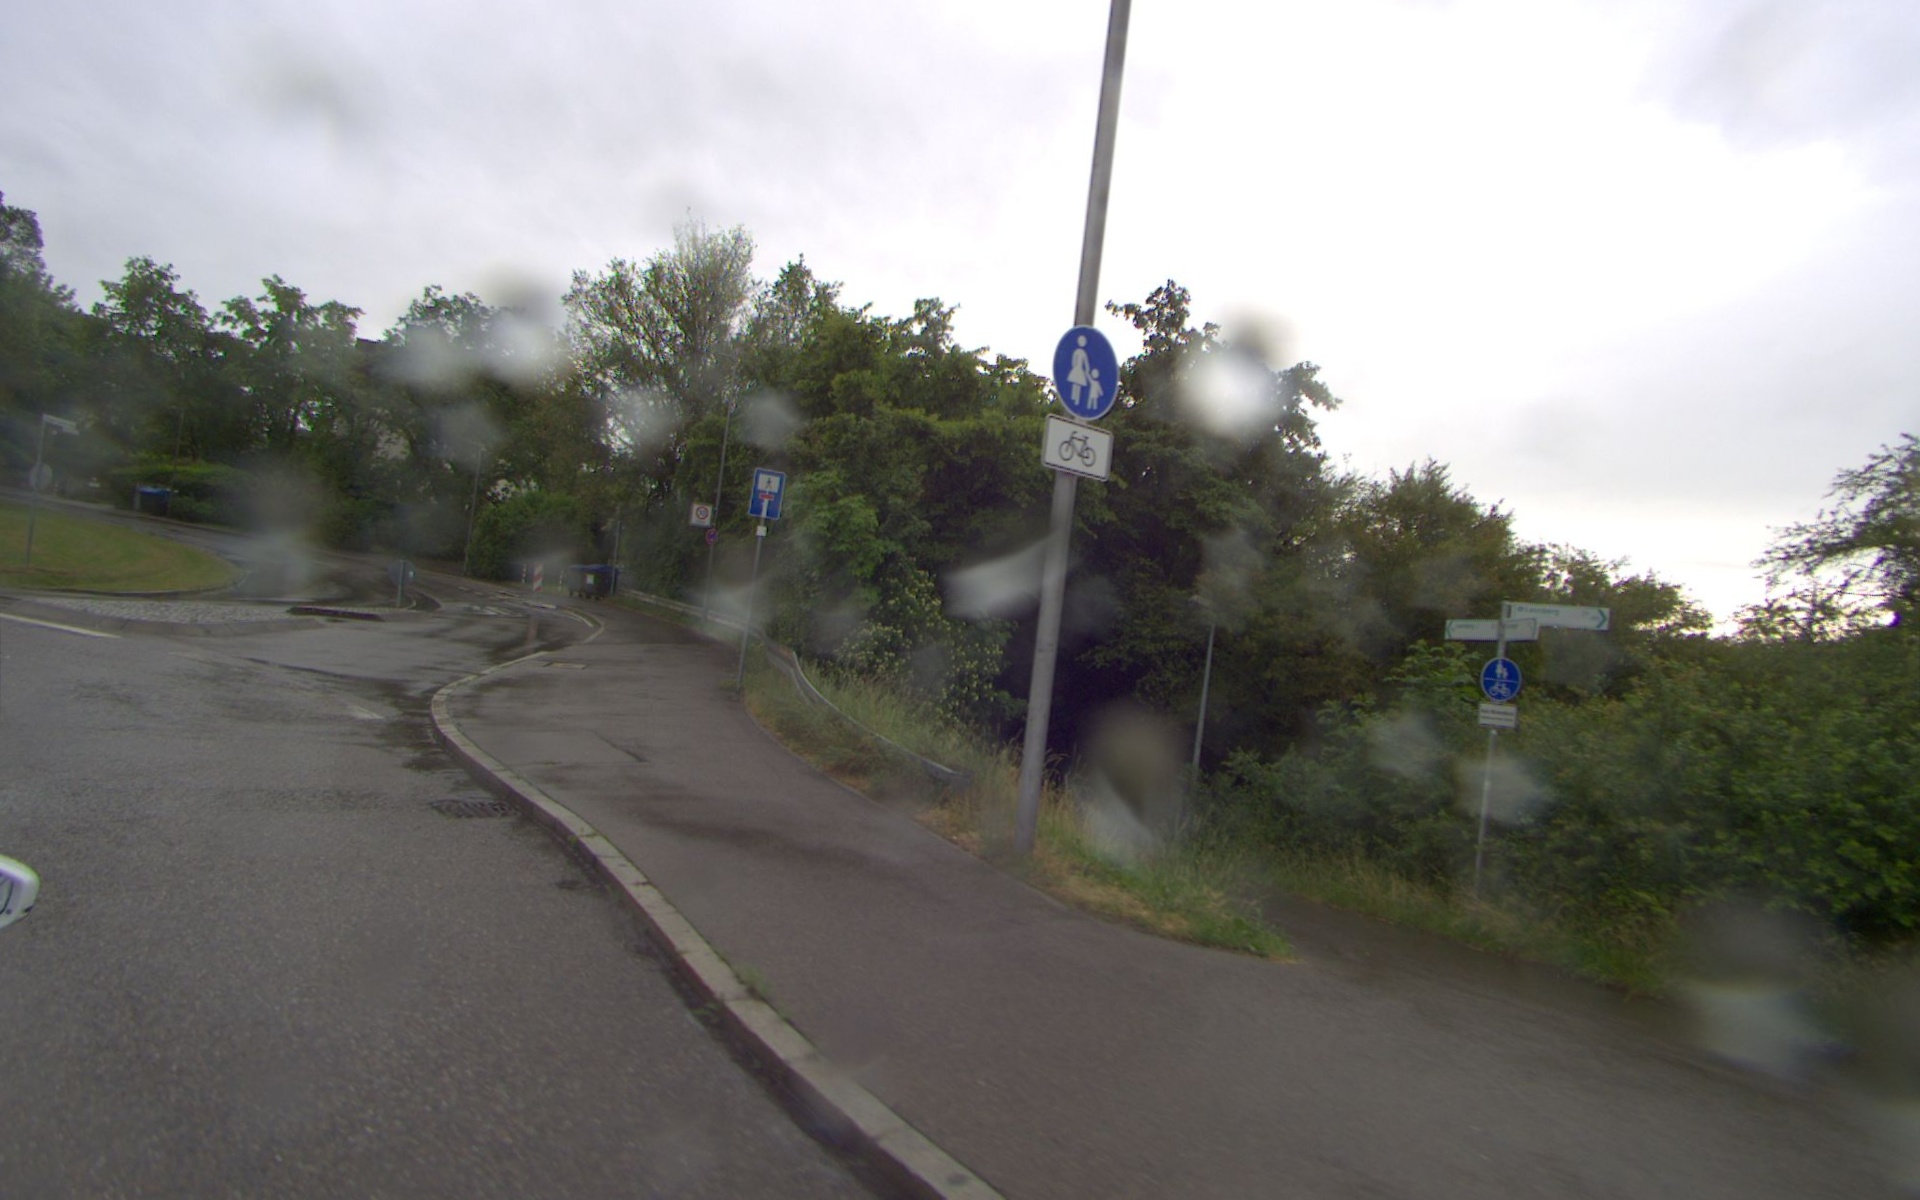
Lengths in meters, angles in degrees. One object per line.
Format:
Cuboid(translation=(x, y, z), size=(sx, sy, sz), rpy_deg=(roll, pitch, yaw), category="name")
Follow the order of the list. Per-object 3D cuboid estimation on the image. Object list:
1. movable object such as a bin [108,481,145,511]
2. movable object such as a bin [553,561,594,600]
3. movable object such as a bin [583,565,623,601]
Cuboid(translation=(-47.996, -6.011, 57.954), size=(1.406, 1.454, 1.195), rpy_deg=(8, 0, 35), category="movable object such as a bin")
Cuboid(translation=(-16.296, -0.828, 42.425), size=(1.189, 1.454, 1.063), rpy_deg=(8, -1, -40), category="movable object such as a bin")
Cuboid(translation=(-14.732, -0.702, 41.493), size=(1.188, 1.359, 1.063), rpy_deg=(4, 2, -40), category="movable object such as a bin")
